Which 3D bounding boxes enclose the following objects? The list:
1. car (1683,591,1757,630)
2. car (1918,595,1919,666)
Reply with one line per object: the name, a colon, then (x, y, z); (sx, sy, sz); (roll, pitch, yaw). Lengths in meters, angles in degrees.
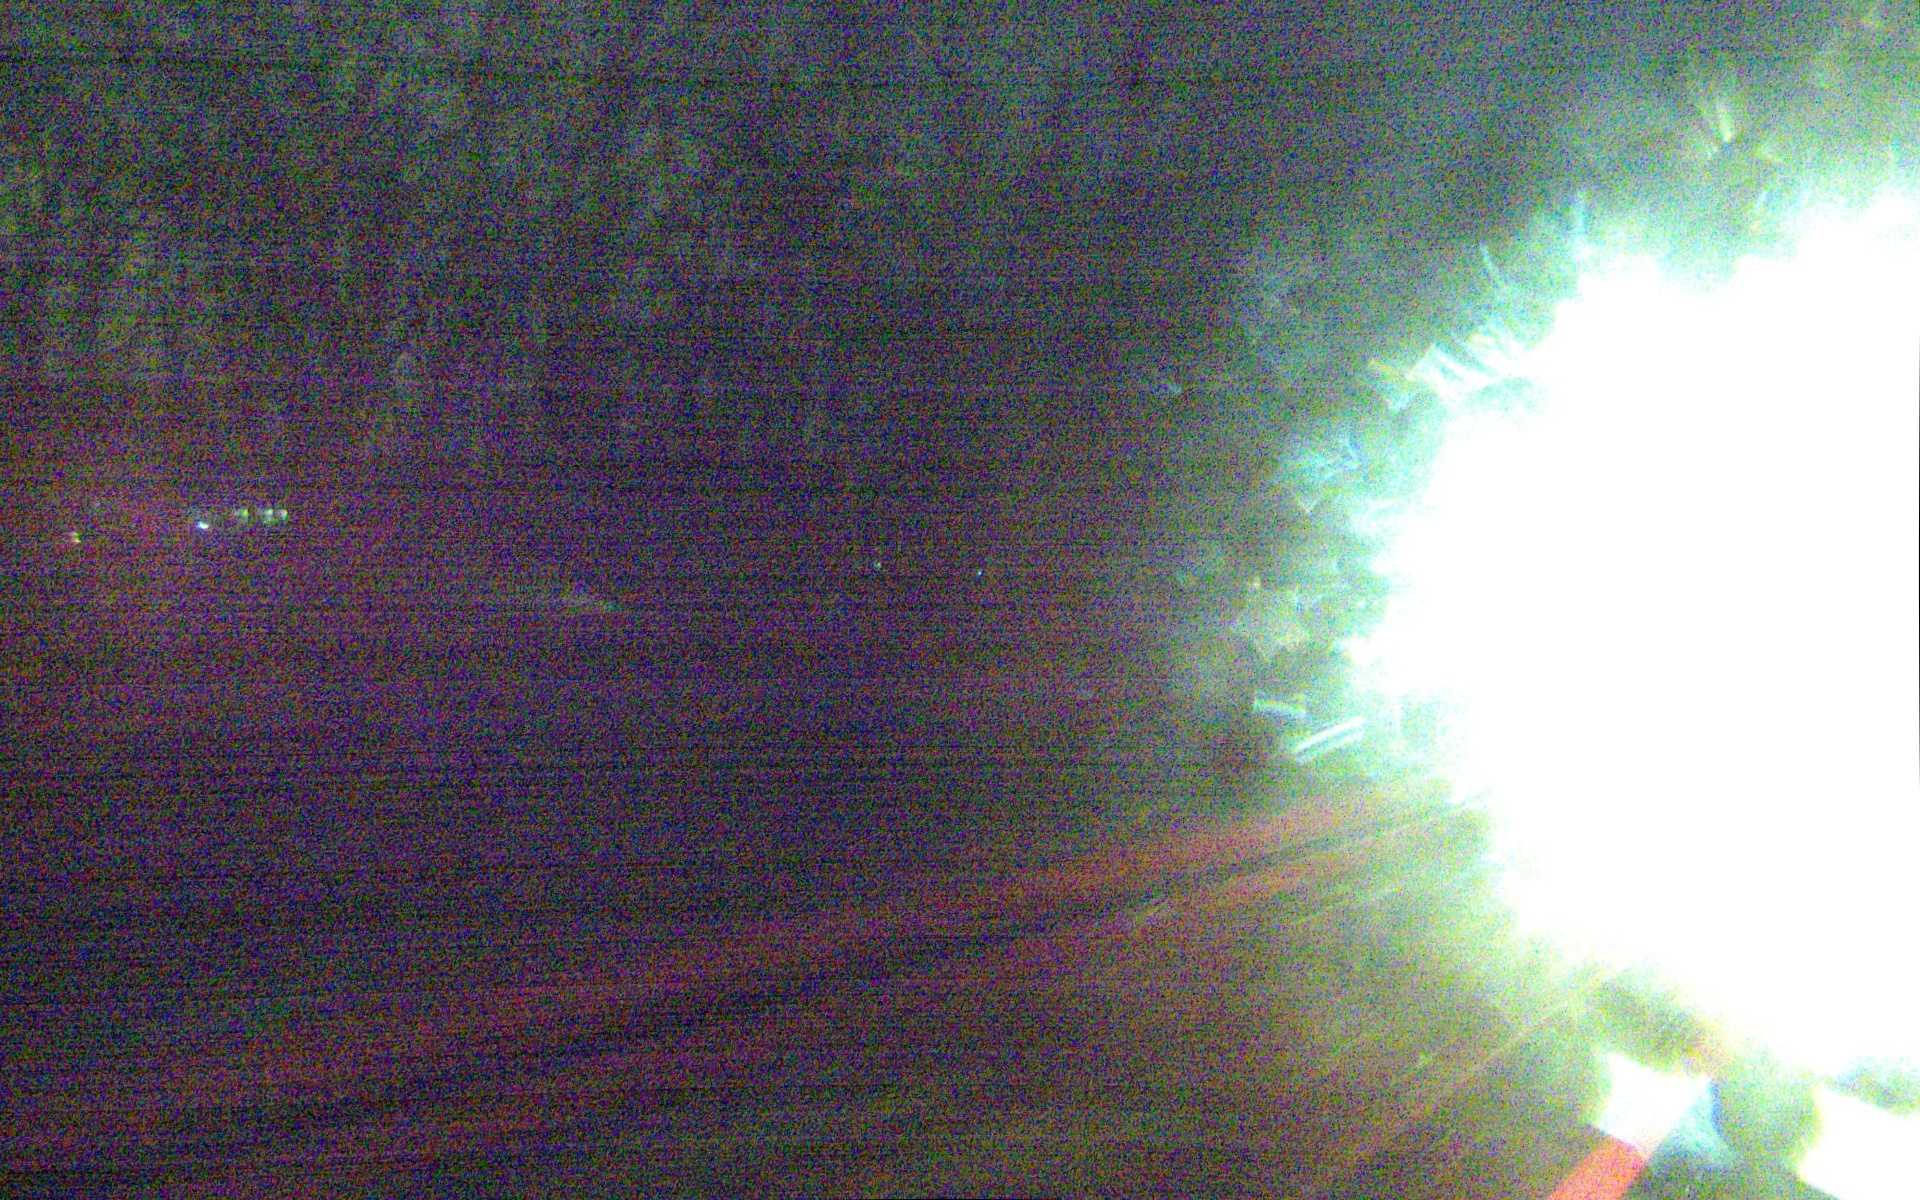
car: (31.301, 0.458, 41.785); (1.834, 1.468, 3.834); (-4, -3, 29)
car: (19.492, 0.661, 18.801); (1.838, 1.467, 3.951); (0, 1, 34)
